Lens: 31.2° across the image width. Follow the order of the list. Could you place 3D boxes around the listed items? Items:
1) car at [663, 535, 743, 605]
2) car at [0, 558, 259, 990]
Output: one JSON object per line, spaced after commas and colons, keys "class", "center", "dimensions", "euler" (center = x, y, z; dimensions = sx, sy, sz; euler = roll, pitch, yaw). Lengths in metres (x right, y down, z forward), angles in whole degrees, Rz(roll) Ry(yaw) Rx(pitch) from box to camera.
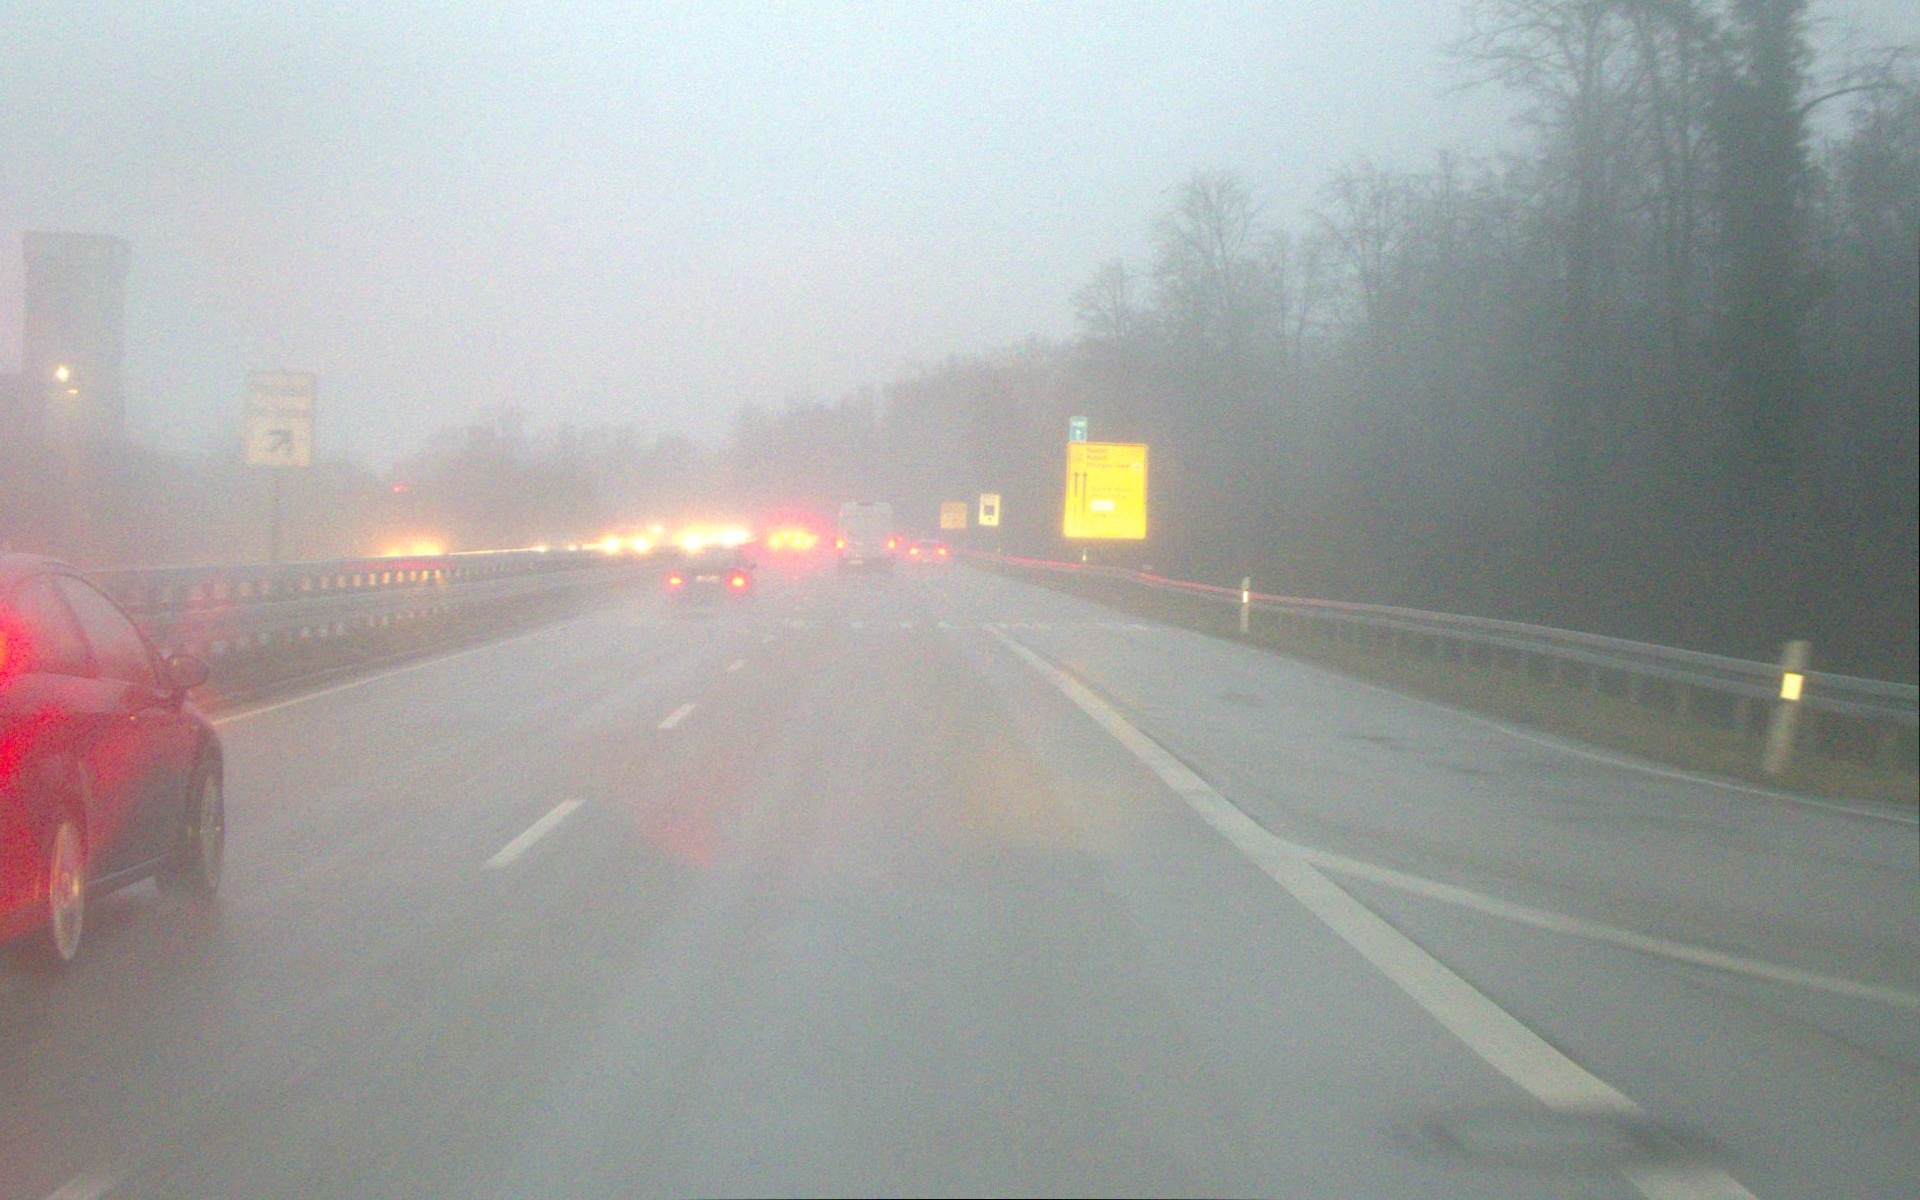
{"class": "car", "center": [-5.146, -0.625, 68.967], "dimensions": [1.416, 1.312, 3.083], "euler": [2, 1, -2]}
{"class": "car", "center": [-3.882, 0.544, 13.364], "dimensions": [1.625, 1.387, 4.001], "euler": [2, 1, -3]}
